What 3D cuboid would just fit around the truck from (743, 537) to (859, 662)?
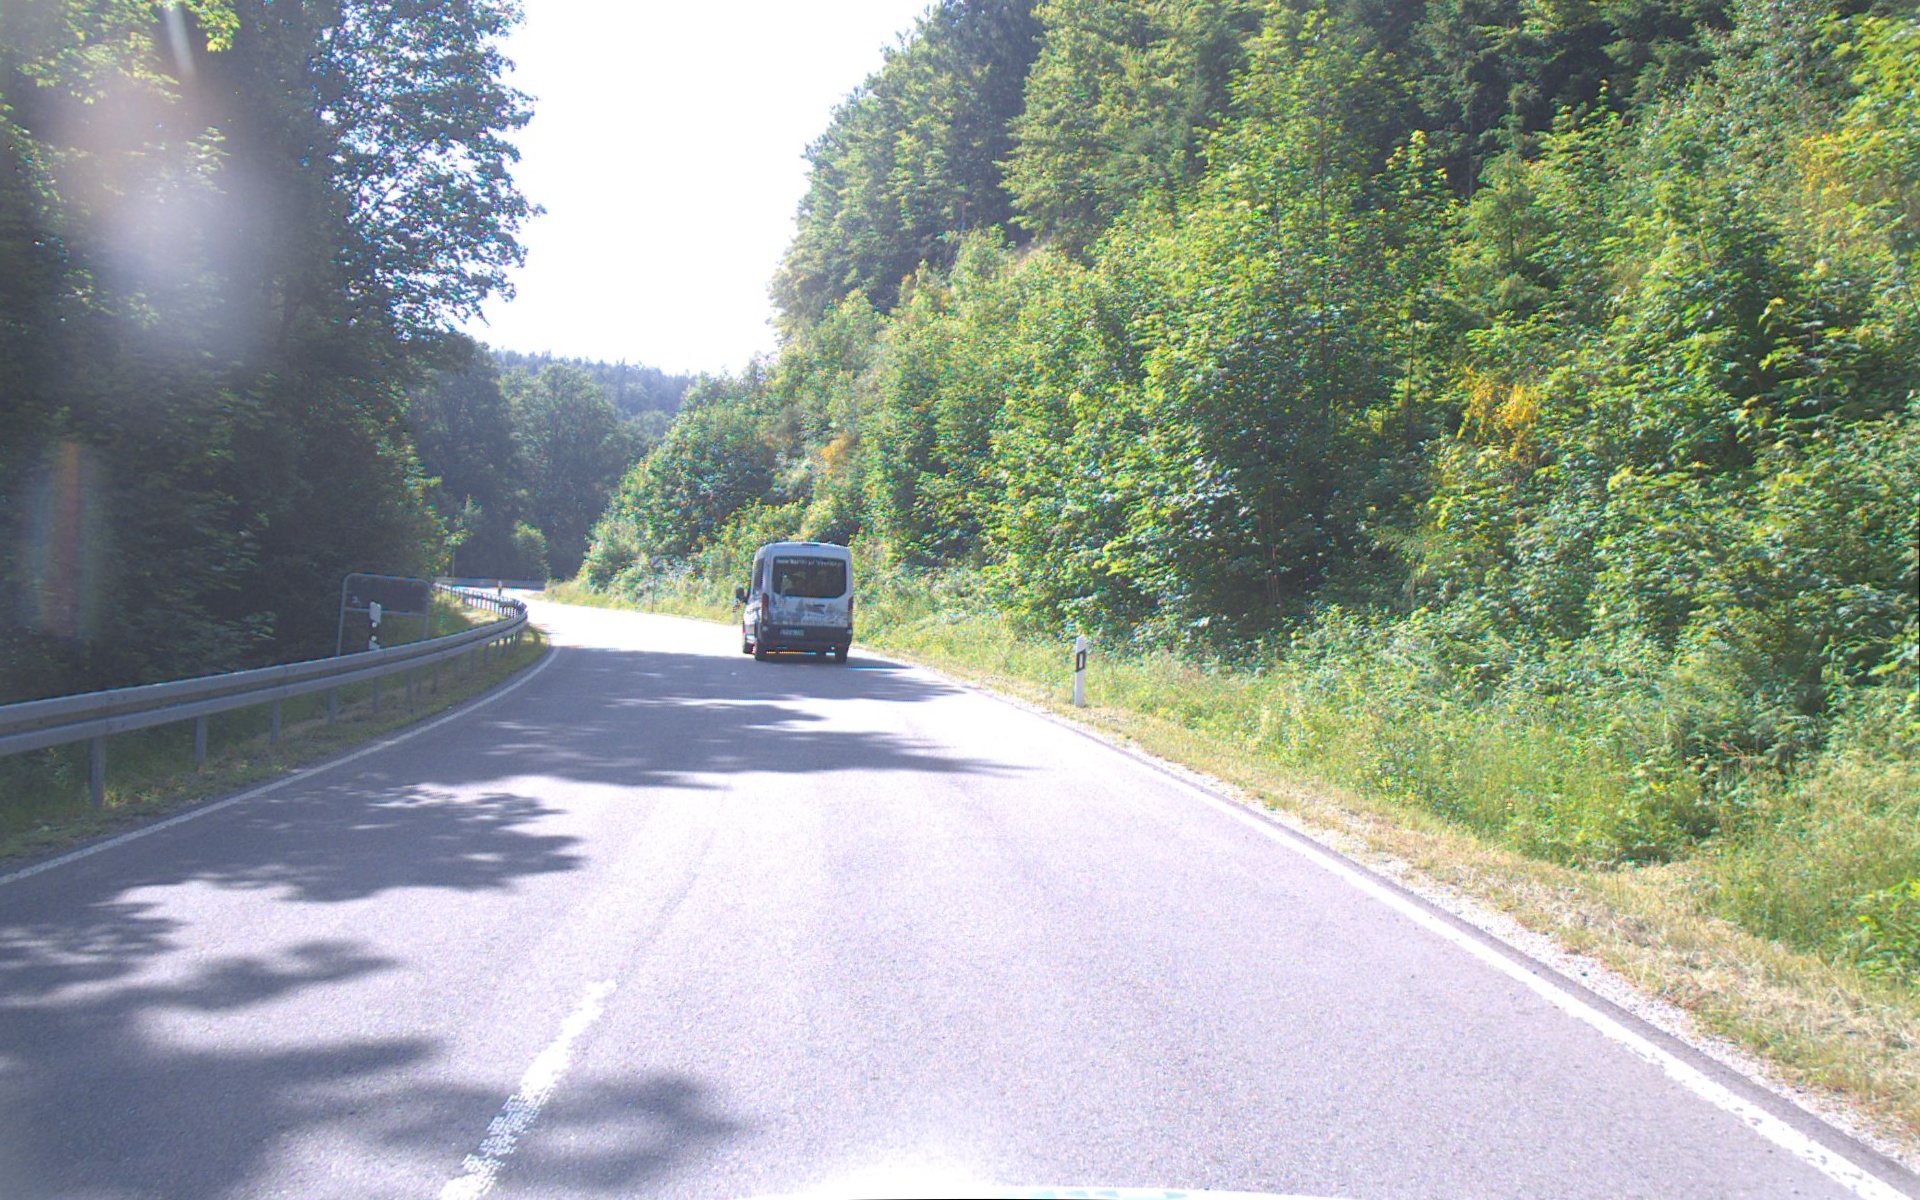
[{"bbox_3d":[-3.618,-0.023,36.761,2.077,2.542,5.345,1,0,-11],"label":"truck"}]
